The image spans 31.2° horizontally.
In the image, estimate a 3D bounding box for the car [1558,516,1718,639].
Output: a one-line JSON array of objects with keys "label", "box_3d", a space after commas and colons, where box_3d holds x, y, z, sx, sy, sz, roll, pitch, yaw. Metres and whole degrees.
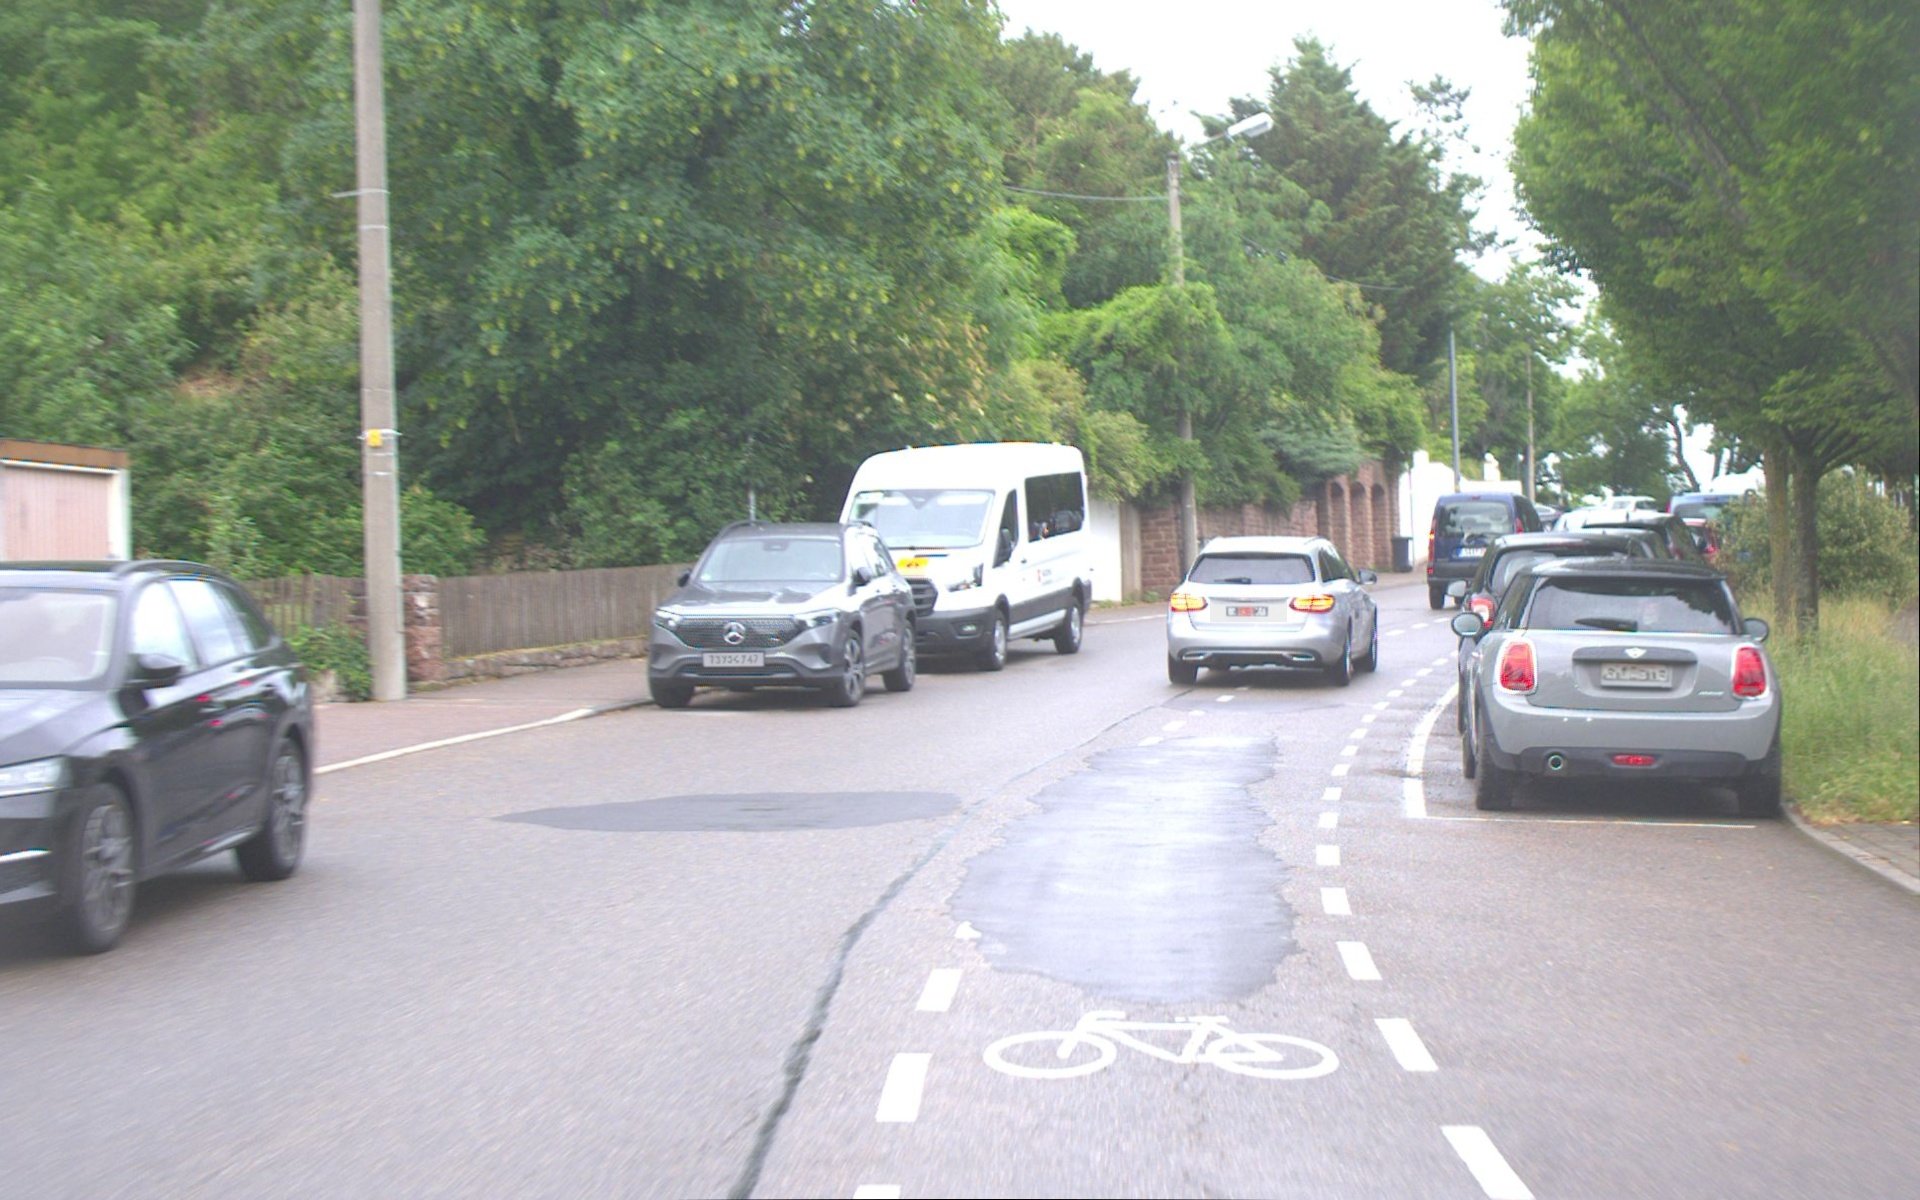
[{"label": "car", "box_3d": [9.384, -0.347, 47.355, 1.715, 1.550, 4.161, 2, 2, 17]}]

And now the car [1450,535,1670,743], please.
[{"label": "car", "box_3d": [4.761, 0.261, 27.463, 1.627, 1.557, 3.021, 0, 1, 9]}]

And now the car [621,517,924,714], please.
[{"label": "car", "box_3d": [-1.665, 0.091, 32.231, 1.896, 1.685, 4.544, -1, 1, 9]}]

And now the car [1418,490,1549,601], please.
[{"label": "car", "box_3d": [8.361, -0.860, 55.002, 1.994, 1.702, 3.999, 0, 1, 8]}]

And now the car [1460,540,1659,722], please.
[{"label": "car", "box_3d": [5.439, 0.226, 31.237, 1.655, 1.514, 3.999, 1, 1, 10]}]

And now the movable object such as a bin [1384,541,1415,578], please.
[{"label": "movable object such as a bin", "box_3d": [11.191, -1.037, 87.509, 0.659, 0.916, 0.677, -1, 1, 17]}]

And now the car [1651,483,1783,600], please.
[{"label": "car", "box_3d": [12.648, -1.010, 57.259, 1.779, 1.845, 4.421, 0, 2, 17]}]

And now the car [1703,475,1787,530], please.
[{"label": "car", "box_3d": [36.379, -4.544, 159.478, 2.125, 2.518, 4.498, 0, 2, -11]}]

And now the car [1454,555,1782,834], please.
[{"label": "car", "box_3d": [3.840, 0.486, 20.555, 1.669, 1.466, 3.709, 1, 1, 7]}]

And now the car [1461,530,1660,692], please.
[{"label": "car", "box_3d": [6.409, 0.059, 36.348, 1.777, 1.547, 4.725, 1, 2, 13]}]

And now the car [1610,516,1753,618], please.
[{"label": "car", "box_3d": [11.017, -0.535, 52.329, 1.650, 1.476, 4.016, 1, 2, 19]}]

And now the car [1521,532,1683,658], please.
[{"label": "car", "box_3d": [8.028, -0.105, 42.747, 1.644, 1.419, 4.285, 1, 2, 15]}]

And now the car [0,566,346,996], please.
[{"label": "car", "box_3d": [-3.955, 0.612, 14.240, 1.713, 1.454, 4.682, -1, 1, 3]}]

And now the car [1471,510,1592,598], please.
[{"label": "car", "box_3d": [11.510, -0.926, 69.069, 1.995, 1.702, 3.997, 0, 1, 16]}]

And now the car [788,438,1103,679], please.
[{"label": "car", "box_3d": [-0.045, -0.536, 39.741, 2.095, 2.541, 6.093, -1, 2, 15]}]

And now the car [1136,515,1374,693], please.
[{"label": "car", "box_3d": [3.075, 0.011, 35.029, 2.026, 1.702, 4.214, 0, 1, 10]}]

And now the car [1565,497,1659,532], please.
[{"label": "car", "box_3d": [32.375, -4.244, 170.795, 1.964, 1.692, 4.496, -1, 2, -35]}]
